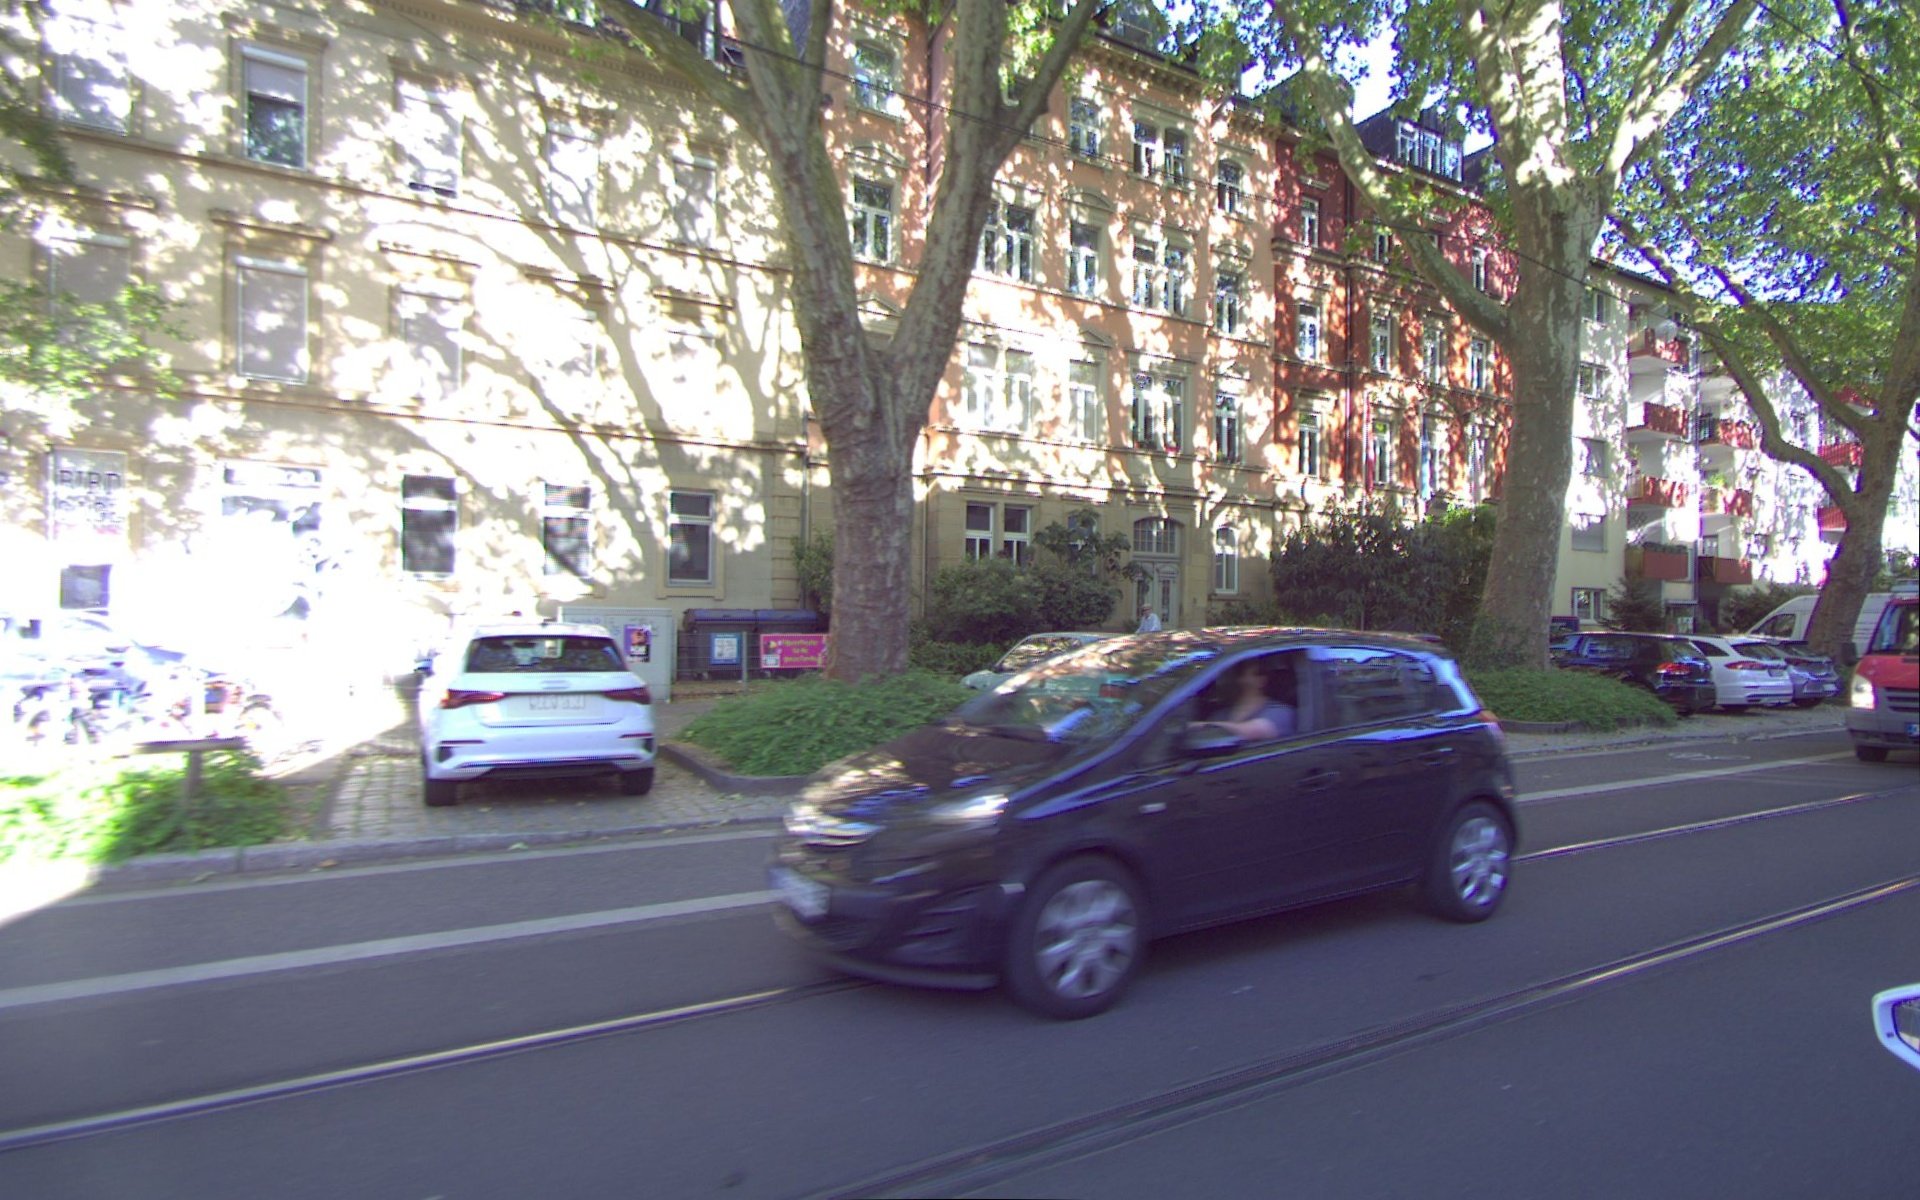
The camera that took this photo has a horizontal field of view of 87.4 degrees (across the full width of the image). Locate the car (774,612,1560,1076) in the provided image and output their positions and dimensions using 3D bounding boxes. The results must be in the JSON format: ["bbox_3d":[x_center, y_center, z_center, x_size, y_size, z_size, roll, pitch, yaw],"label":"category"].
[{"bbox_3d":[1.120,0.855,5.016,3.680,1.530,1.709,1,-1,-31],"label":"car"}]

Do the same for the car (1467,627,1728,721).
[{"bbox_3d":[11.744,1.292,18.760,1.683,1.479,3.778,1,0,-28],"label":"car"}]

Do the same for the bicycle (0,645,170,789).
[{"bbox_3d":[-7.927,0.975,8.929,0.587,1.102,1.921,1,-1,-11],"label":"bicycle"}]

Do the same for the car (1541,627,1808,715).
[{"bbox_3d":[14.054,1.327,19.991,1.808,1.516,3.971,1,-1,-28],"label":"car"}]

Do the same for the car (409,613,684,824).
[{"bbox_3d":[-3.984,0.872,9.268,1.857,1.479,3.969,1,-1,-30],"label":"car"}]

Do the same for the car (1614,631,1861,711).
[{"bbox_3d":[16.196,1.407,21.130,1.682,1.451,3.795,1,-1,-27],"label":"car"}]

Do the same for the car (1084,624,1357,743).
[{"bbox_3d":[3.675,1.121,14.896,1.747,1.479,3.973,1,-1,-27],"label":"car"}]

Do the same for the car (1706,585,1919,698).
[{"bbox_3d":[22.136,0.967,24.721,2.136,2.570,5.716,1,0,-28],"label":"car"}]

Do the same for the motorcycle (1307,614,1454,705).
[{"bbox_3d":[8.284,1.151,19.742,2.976,1.653,1.047,2,0,-30],"label":"motorcycle"}]

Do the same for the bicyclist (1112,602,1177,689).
[{"bbox_3d":[3.877,0.942,21.118,1.036,1.786,0.826,1,-1,-30],"label":"bicyclist"}]

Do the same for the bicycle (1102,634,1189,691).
[{"bbox_3d":[3.921,1.304,21.202,1.759,1.154,0.739,1,-1,-30],"label":"bicycle"}]

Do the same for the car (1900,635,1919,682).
[{"bbox_3d":[30.589,1.774,29.232,1.910,1.403,4.390,1,-1,-29],"label":"car"}]

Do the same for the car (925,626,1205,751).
[{"bbox_3d":[1.257,1.064,13.549,1.589,1.387,3.962,1,-1,-34],"label":"car"}]

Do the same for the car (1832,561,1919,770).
[{"bbox_3d":[12.580,0.753,11.970,4.903,2.256,1.908,1,-1,-31],"label":"car"}]

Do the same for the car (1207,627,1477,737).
[{"bbox_3d":[5.930,1.198,16.081,1.682,1.479,3.973,1,-1,-27],"label":"car"}]

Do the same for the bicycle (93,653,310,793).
[{"bbox_3d":[-6.677,1.037,8.972,0.585,1.057,1.806,1,-1,-2],"label":"bicycle"}]

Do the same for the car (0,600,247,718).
[{"bbox_3d":[-11.886,0.760,13.660,3.451,1.479,1.590,1,-1,-33],"label":"car"}]
